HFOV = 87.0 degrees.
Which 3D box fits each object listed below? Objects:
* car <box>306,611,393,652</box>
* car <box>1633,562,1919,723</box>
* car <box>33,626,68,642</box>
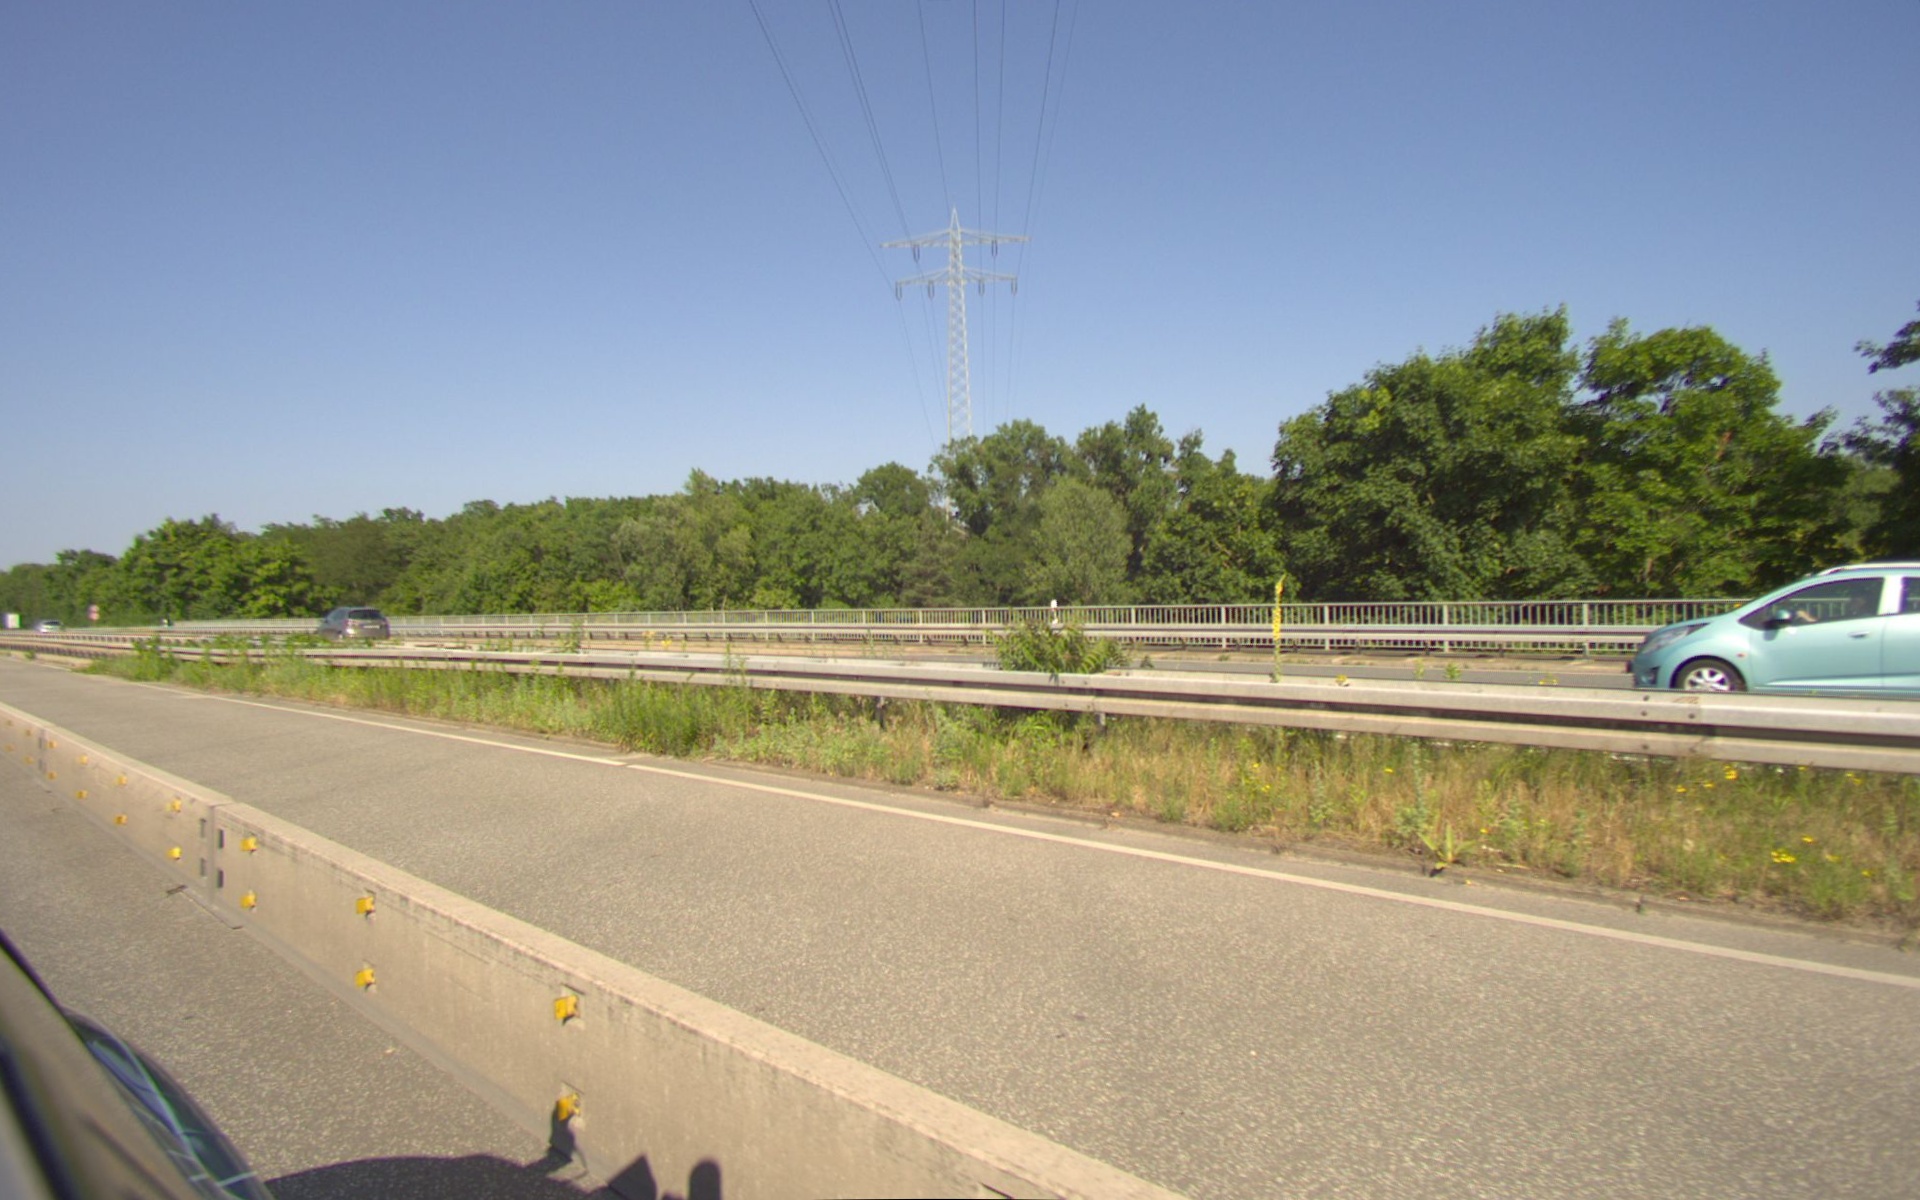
[{"bbox_3d":[-24.731,1.249,40.946,4.420,1.595,1.745,-1,-2,41],"label":"car"},{"bbox_3d":[9.451,0.401,10.605,3.816,1.542,1.630,-2,0,41],"label":"car"},{"bbox_3d":[-81.075,3.041,90.207,4.123,1.403,1.759,-2,-2,41],"label":"car"}]
